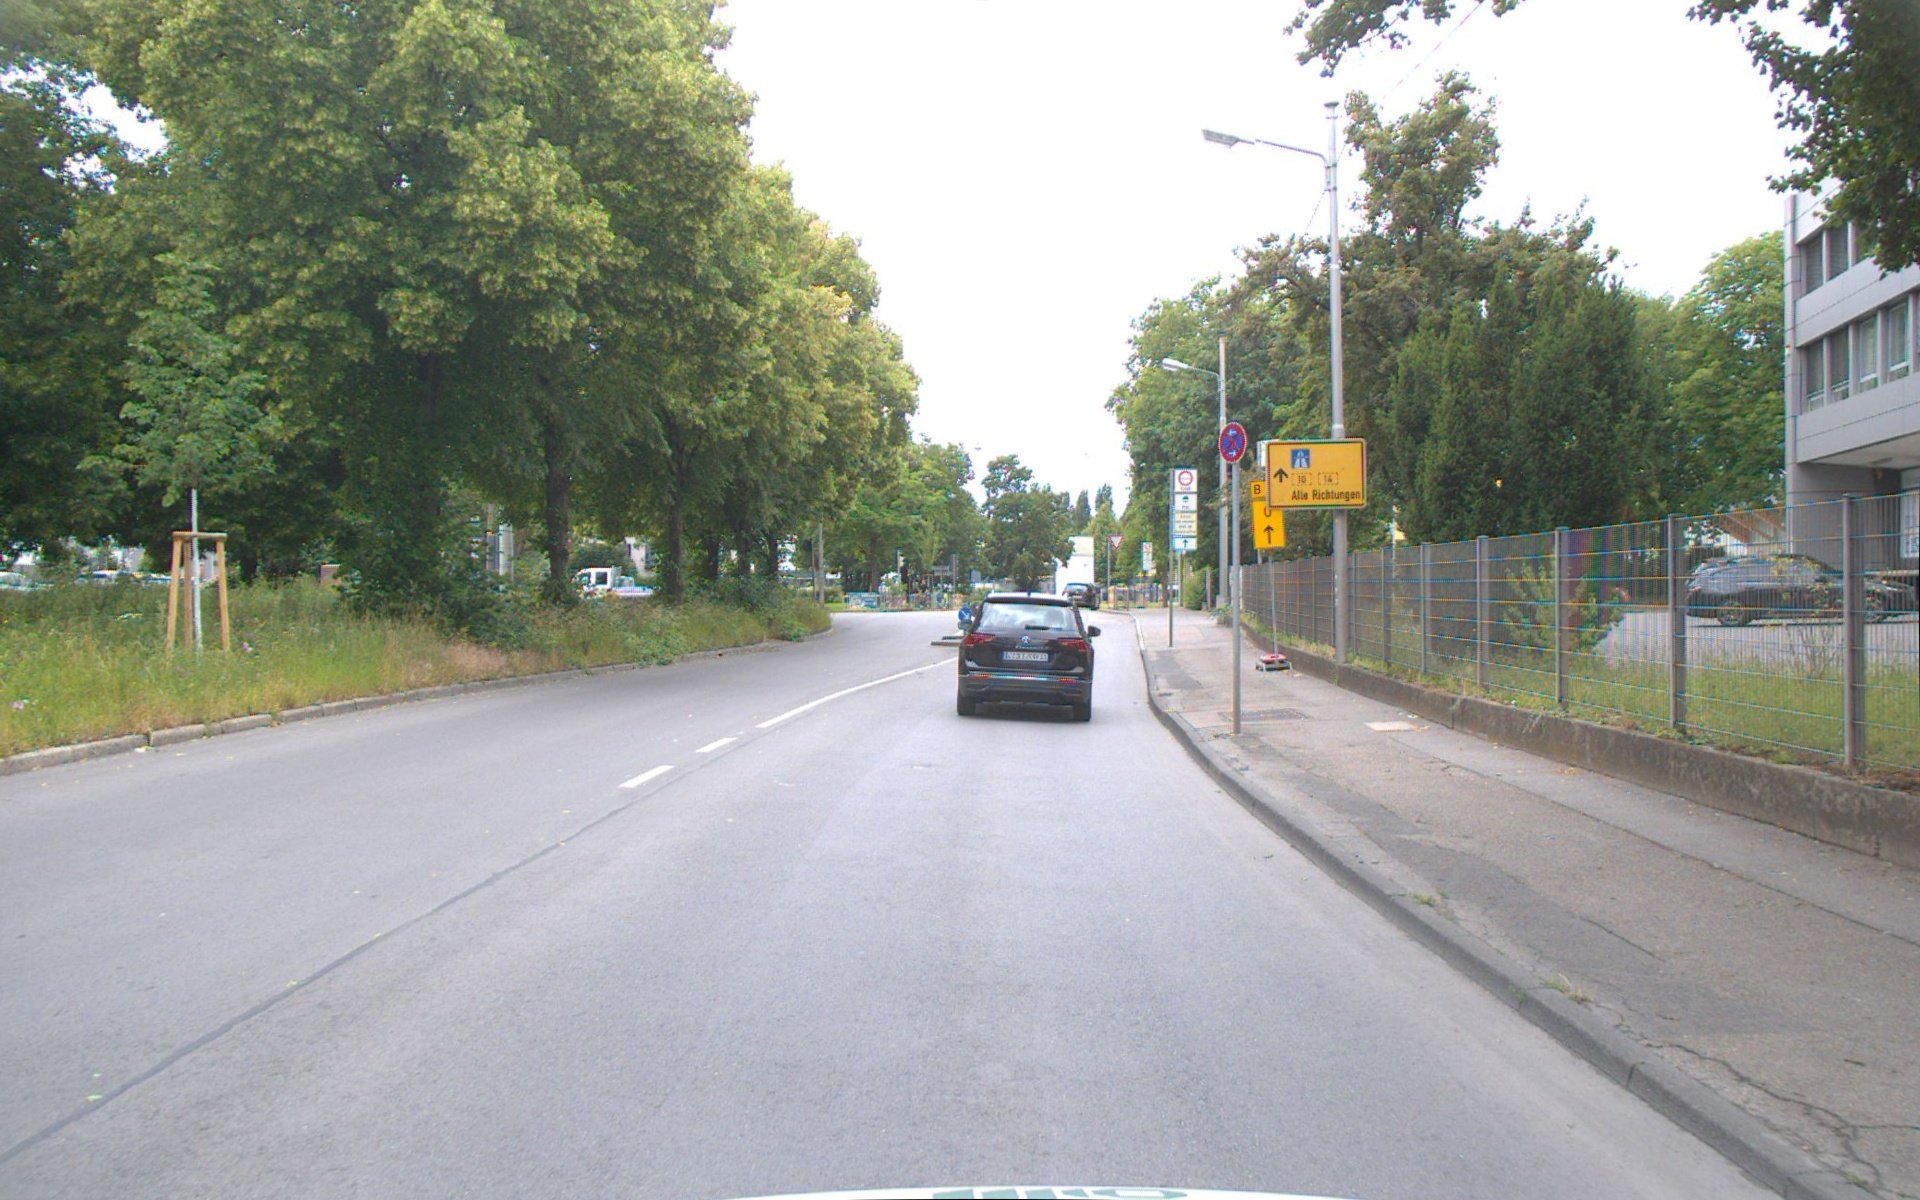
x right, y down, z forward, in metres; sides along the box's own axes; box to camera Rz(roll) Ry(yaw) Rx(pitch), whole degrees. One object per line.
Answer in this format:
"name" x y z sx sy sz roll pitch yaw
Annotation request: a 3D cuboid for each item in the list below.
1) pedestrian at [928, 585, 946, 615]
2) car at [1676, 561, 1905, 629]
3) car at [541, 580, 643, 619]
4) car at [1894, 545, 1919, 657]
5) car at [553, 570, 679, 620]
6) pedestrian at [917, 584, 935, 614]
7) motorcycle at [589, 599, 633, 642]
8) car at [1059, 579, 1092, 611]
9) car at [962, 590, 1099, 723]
"pedestrian" -1.361 0.026 98.486 0.722 1.772 0.732 -1 0 -44
"car" 20.028 -0.119 39.964 4.759 1.561 2.018 0 1 33
"car" -19.672 -0.038 88.468 4.872 1.976 2.050 -1 0 10
"car" 14.960 -0.047 21.416 1.985 1.500 4.616 -1 -1 -44
"car" -17.563 -0.280 84.752 5.947 2.429 2.394 -1 0 -1
"pedestrian" -2.004 -0.061 98.068 0.722 1.772 0.732 -1 0 -44
"motorcycle" -10.050 0.569 47.690 0.553 1.188 2.037 -1 1 8
"car" 6.087 -0.245 86.729 1.624 1.602 3.831 -1 0 5
"car" 0.915 0.711 22.663 1.703 1.646 3.641 1 0 1
